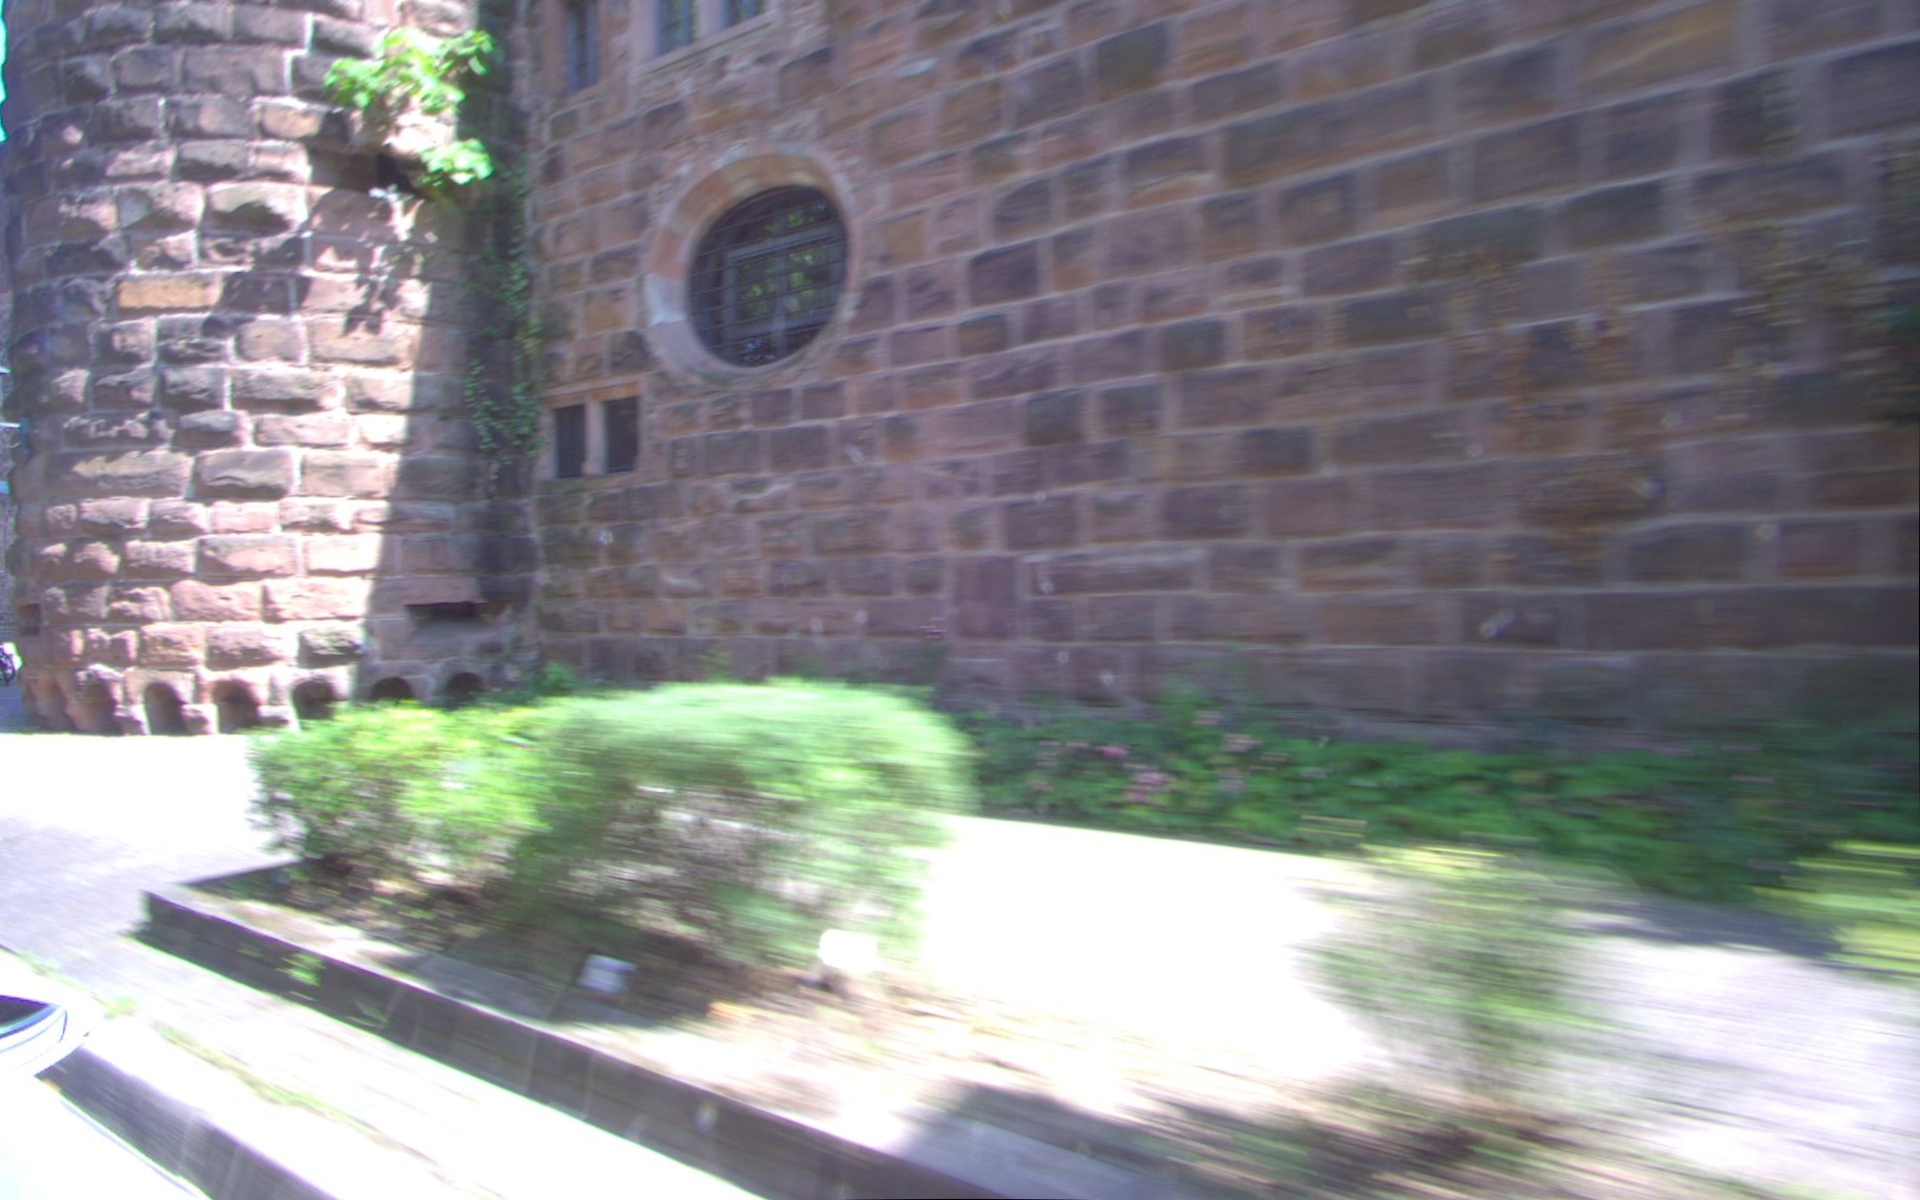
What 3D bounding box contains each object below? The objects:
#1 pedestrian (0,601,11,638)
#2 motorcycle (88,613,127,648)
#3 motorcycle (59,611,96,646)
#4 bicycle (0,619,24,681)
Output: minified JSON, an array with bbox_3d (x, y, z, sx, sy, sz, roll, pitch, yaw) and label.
[{"bbox_3d":[-39.792,0.799,41.411,0.618,1.537,0.656,0,-2,34],"label":"pedestrian"},{"bbox_3d":[-24.878,0.888,29.202,1.446,0.985,0.457,0,-2,33],"label":"motorcycle"},{"bbox_3d":[-25.190,0.820,28.568,1.339,0.985,0.435,0,-2,33],"label":"motorcycle"},{"bbox_3d":[-17.083,0.872,17.738,2.027,1.044,0.493,-1,1,41],"label":"bicycle"}]
